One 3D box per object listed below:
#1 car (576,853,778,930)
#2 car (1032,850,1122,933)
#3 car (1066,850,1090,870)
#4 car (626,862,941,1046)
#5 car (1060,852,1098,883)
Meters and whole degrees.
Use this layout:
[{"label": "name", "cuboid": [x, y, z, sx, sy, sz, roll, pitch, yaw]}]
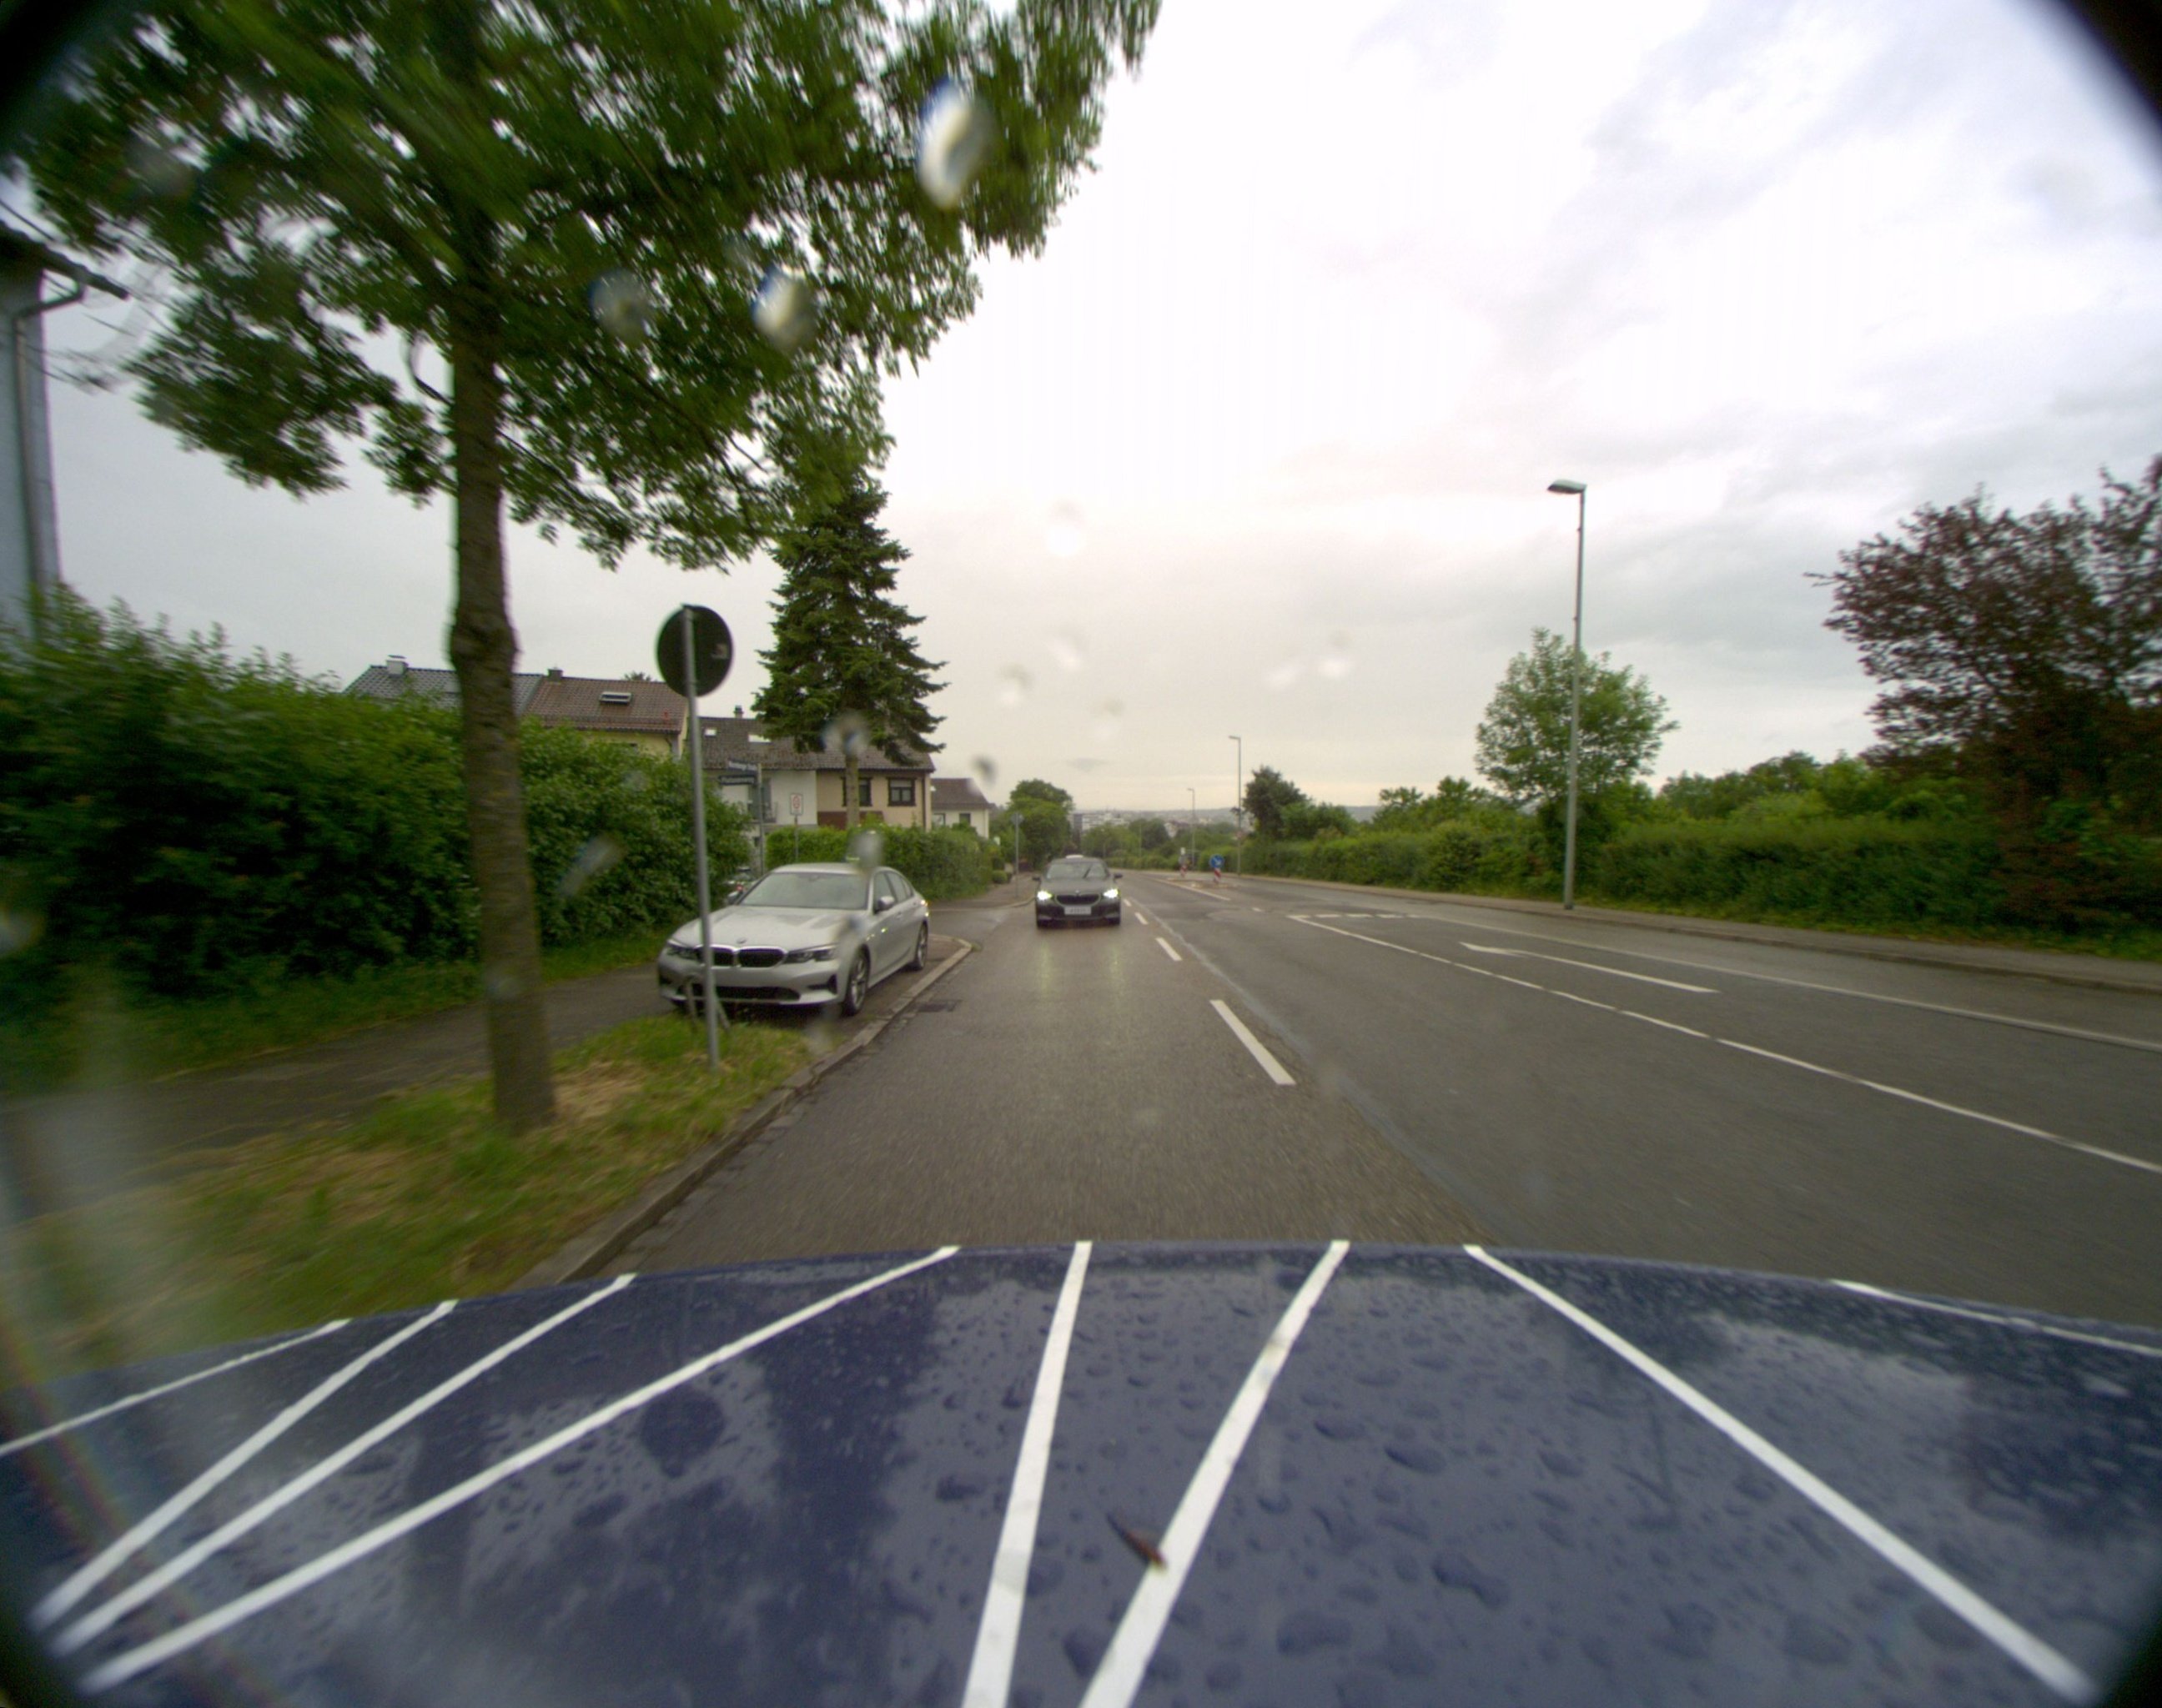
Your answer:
[{"label": "car", "cuboid": [-9.371, 0.830, 17.808, 3.782, 1.503, 1.727, 2, 2, 3]}, {"label": "car", "cuboid": [0.005, 0.781, 18.170, 1.828, 1.668, 4.296, -2, 1, 2]}, {"label": "car", "cuboid": [-0.302, 0.501, 67.714, 1.999, 1.674, 4.172, 0, 1, -2]}, {"label": "car", "cuboid": [-3.025, 0.896, 8.917, 1.803, 1.513, 4.591, 1, 0, 1]}, {"label": "car", "cuboid": [-0.175, 0.714, 43.759, 1.999, 1.674, 4.172, 0, 1, -2]}]
